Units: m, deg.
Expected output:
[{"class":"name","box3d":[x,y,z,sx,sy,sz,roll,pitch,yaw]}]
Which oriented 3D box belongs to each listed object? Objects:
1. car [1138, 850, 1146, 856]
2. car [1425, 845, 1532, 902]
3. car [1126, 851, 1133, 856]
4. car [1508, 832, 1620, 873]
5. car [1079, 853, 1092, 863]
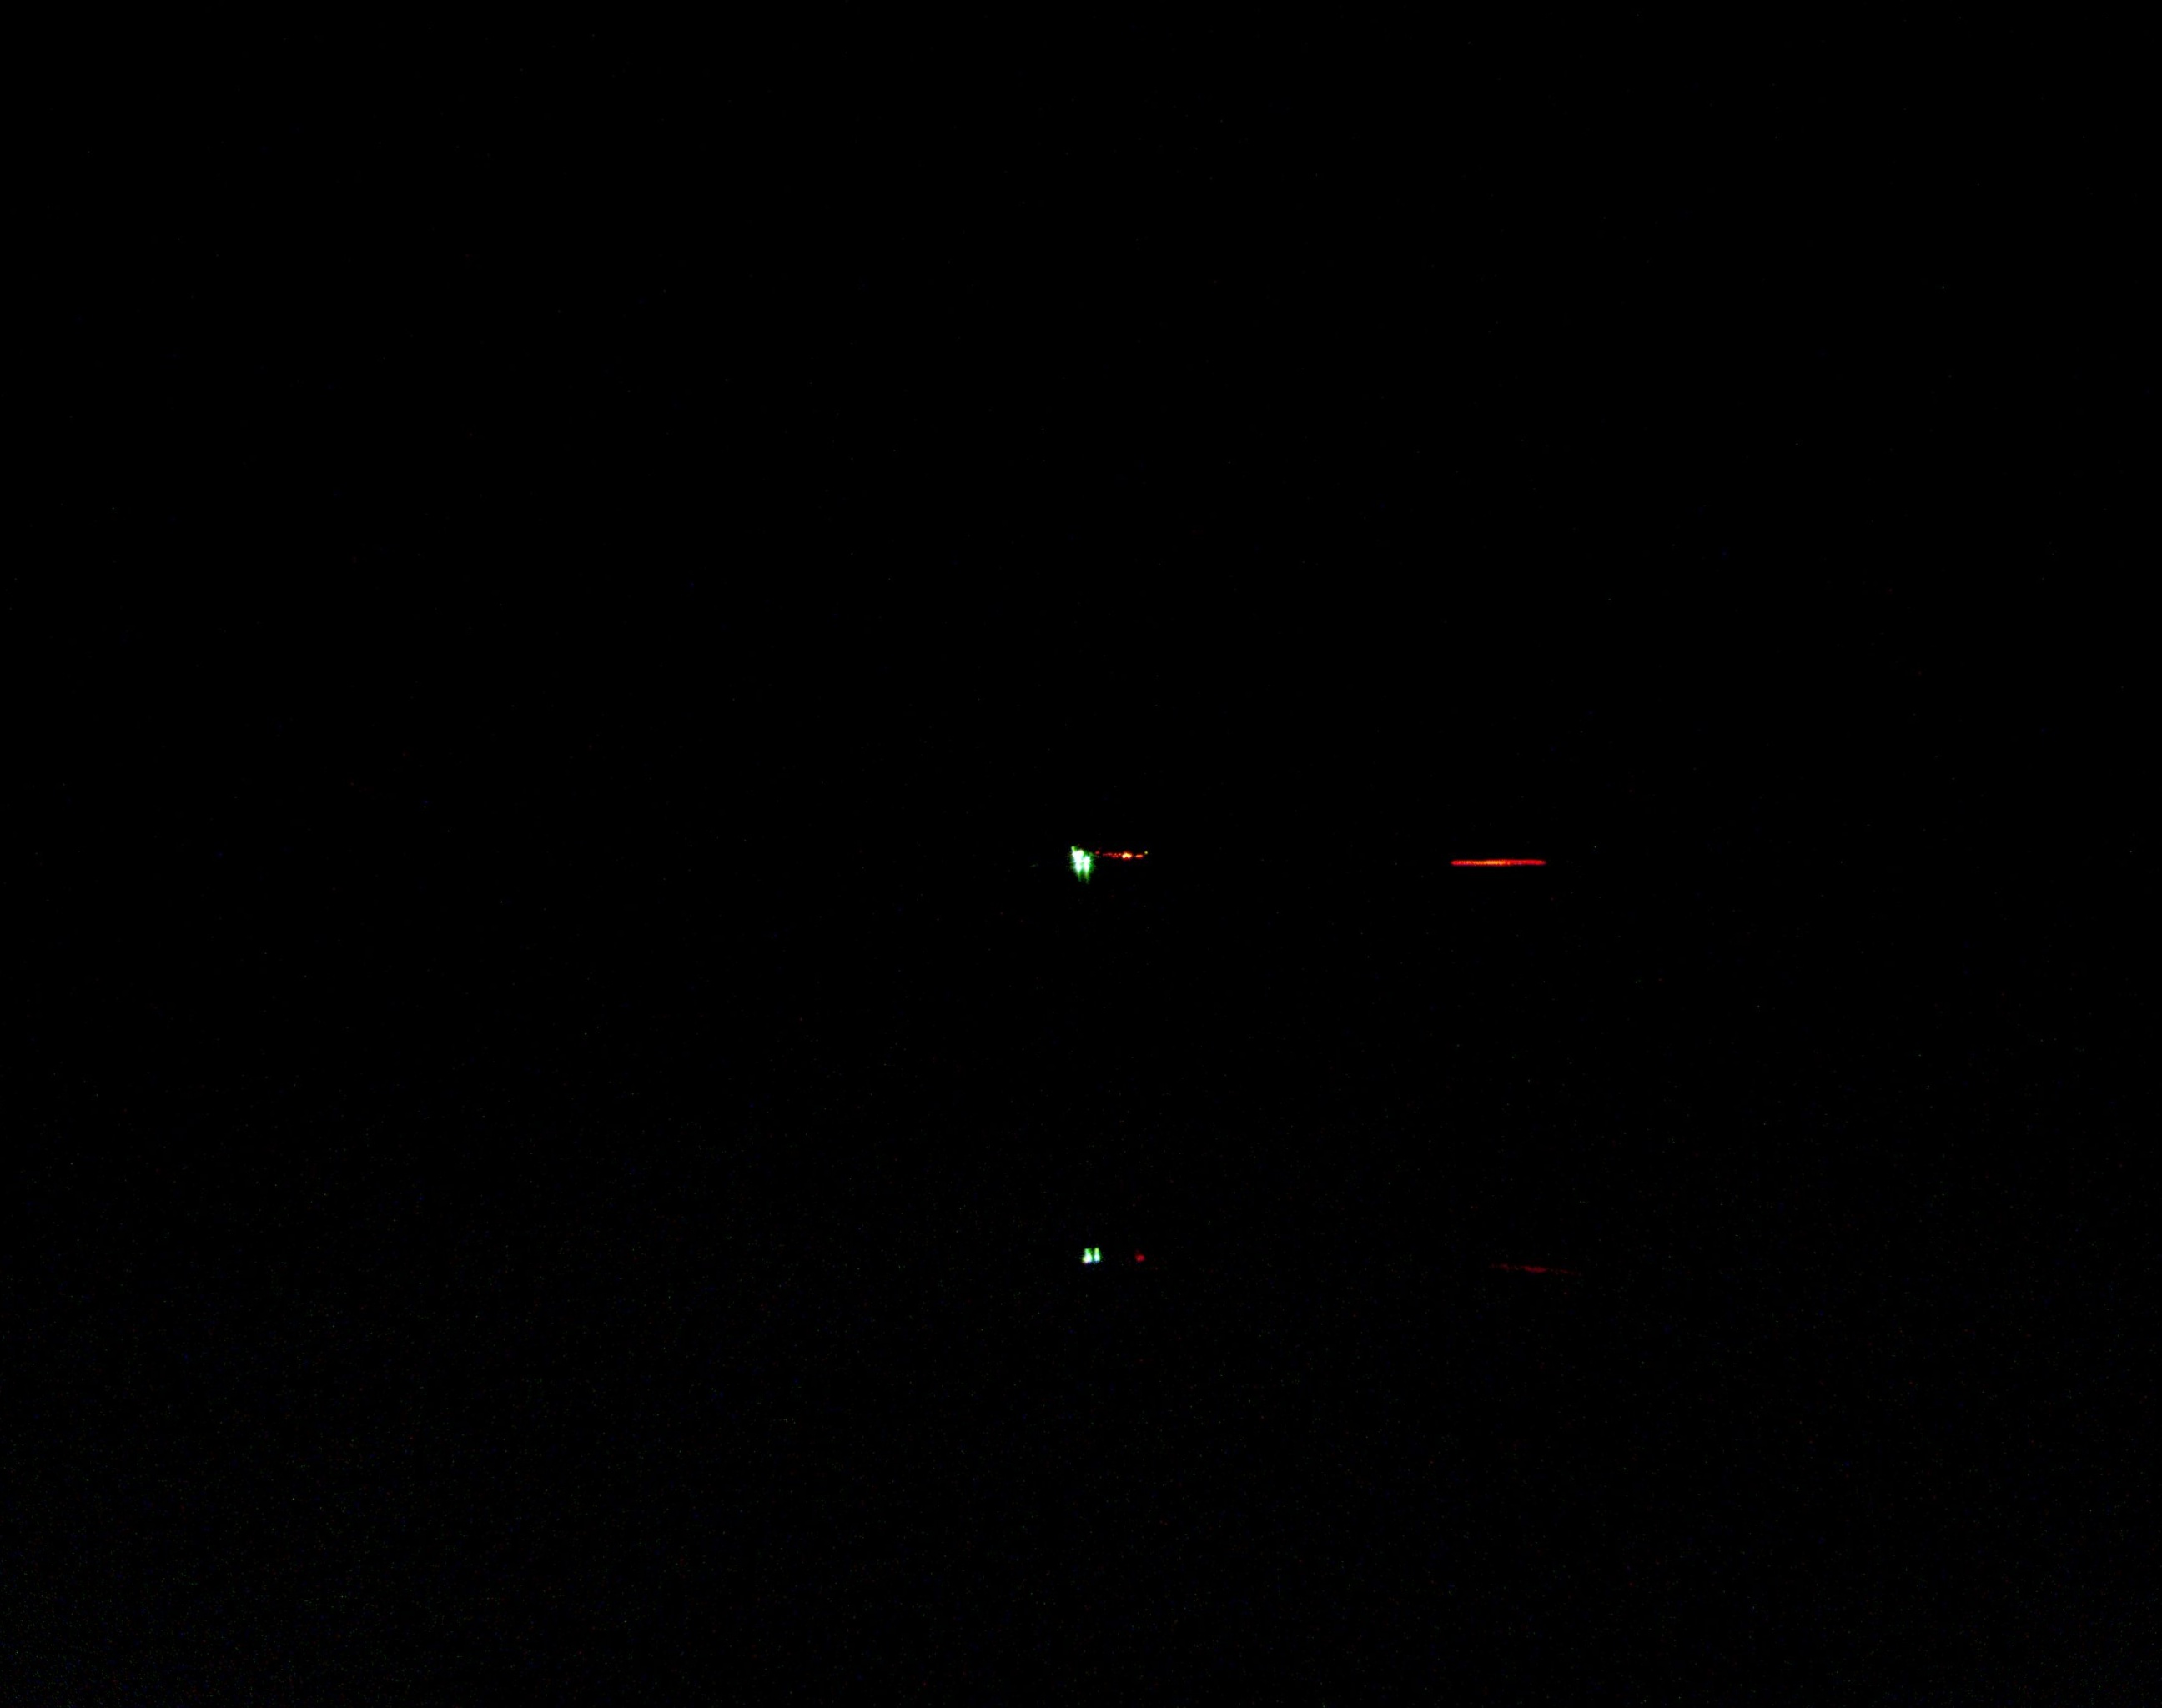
[{"class":"car","box3d":[18.964,-0.295,237.272,2.154,1.558,3.999,-2,1,-1]},{"class":"car","box3d":[15.663,0.689,30.242,1.998,2.002,4.605,-2,1,3]},{"class":"car","box3d":[15.653,-0.125,246.363,1.998,1.587,4.000,-2,1,1]},{"class":"car","box3d":[22.882,-0.098,36.295,1.999,1.767,5.088,-2,1,-1]},{"class":"car","box3d":[0.817,0.674,130.465,2.154,1.558,4.581,-2,1,0]}]
